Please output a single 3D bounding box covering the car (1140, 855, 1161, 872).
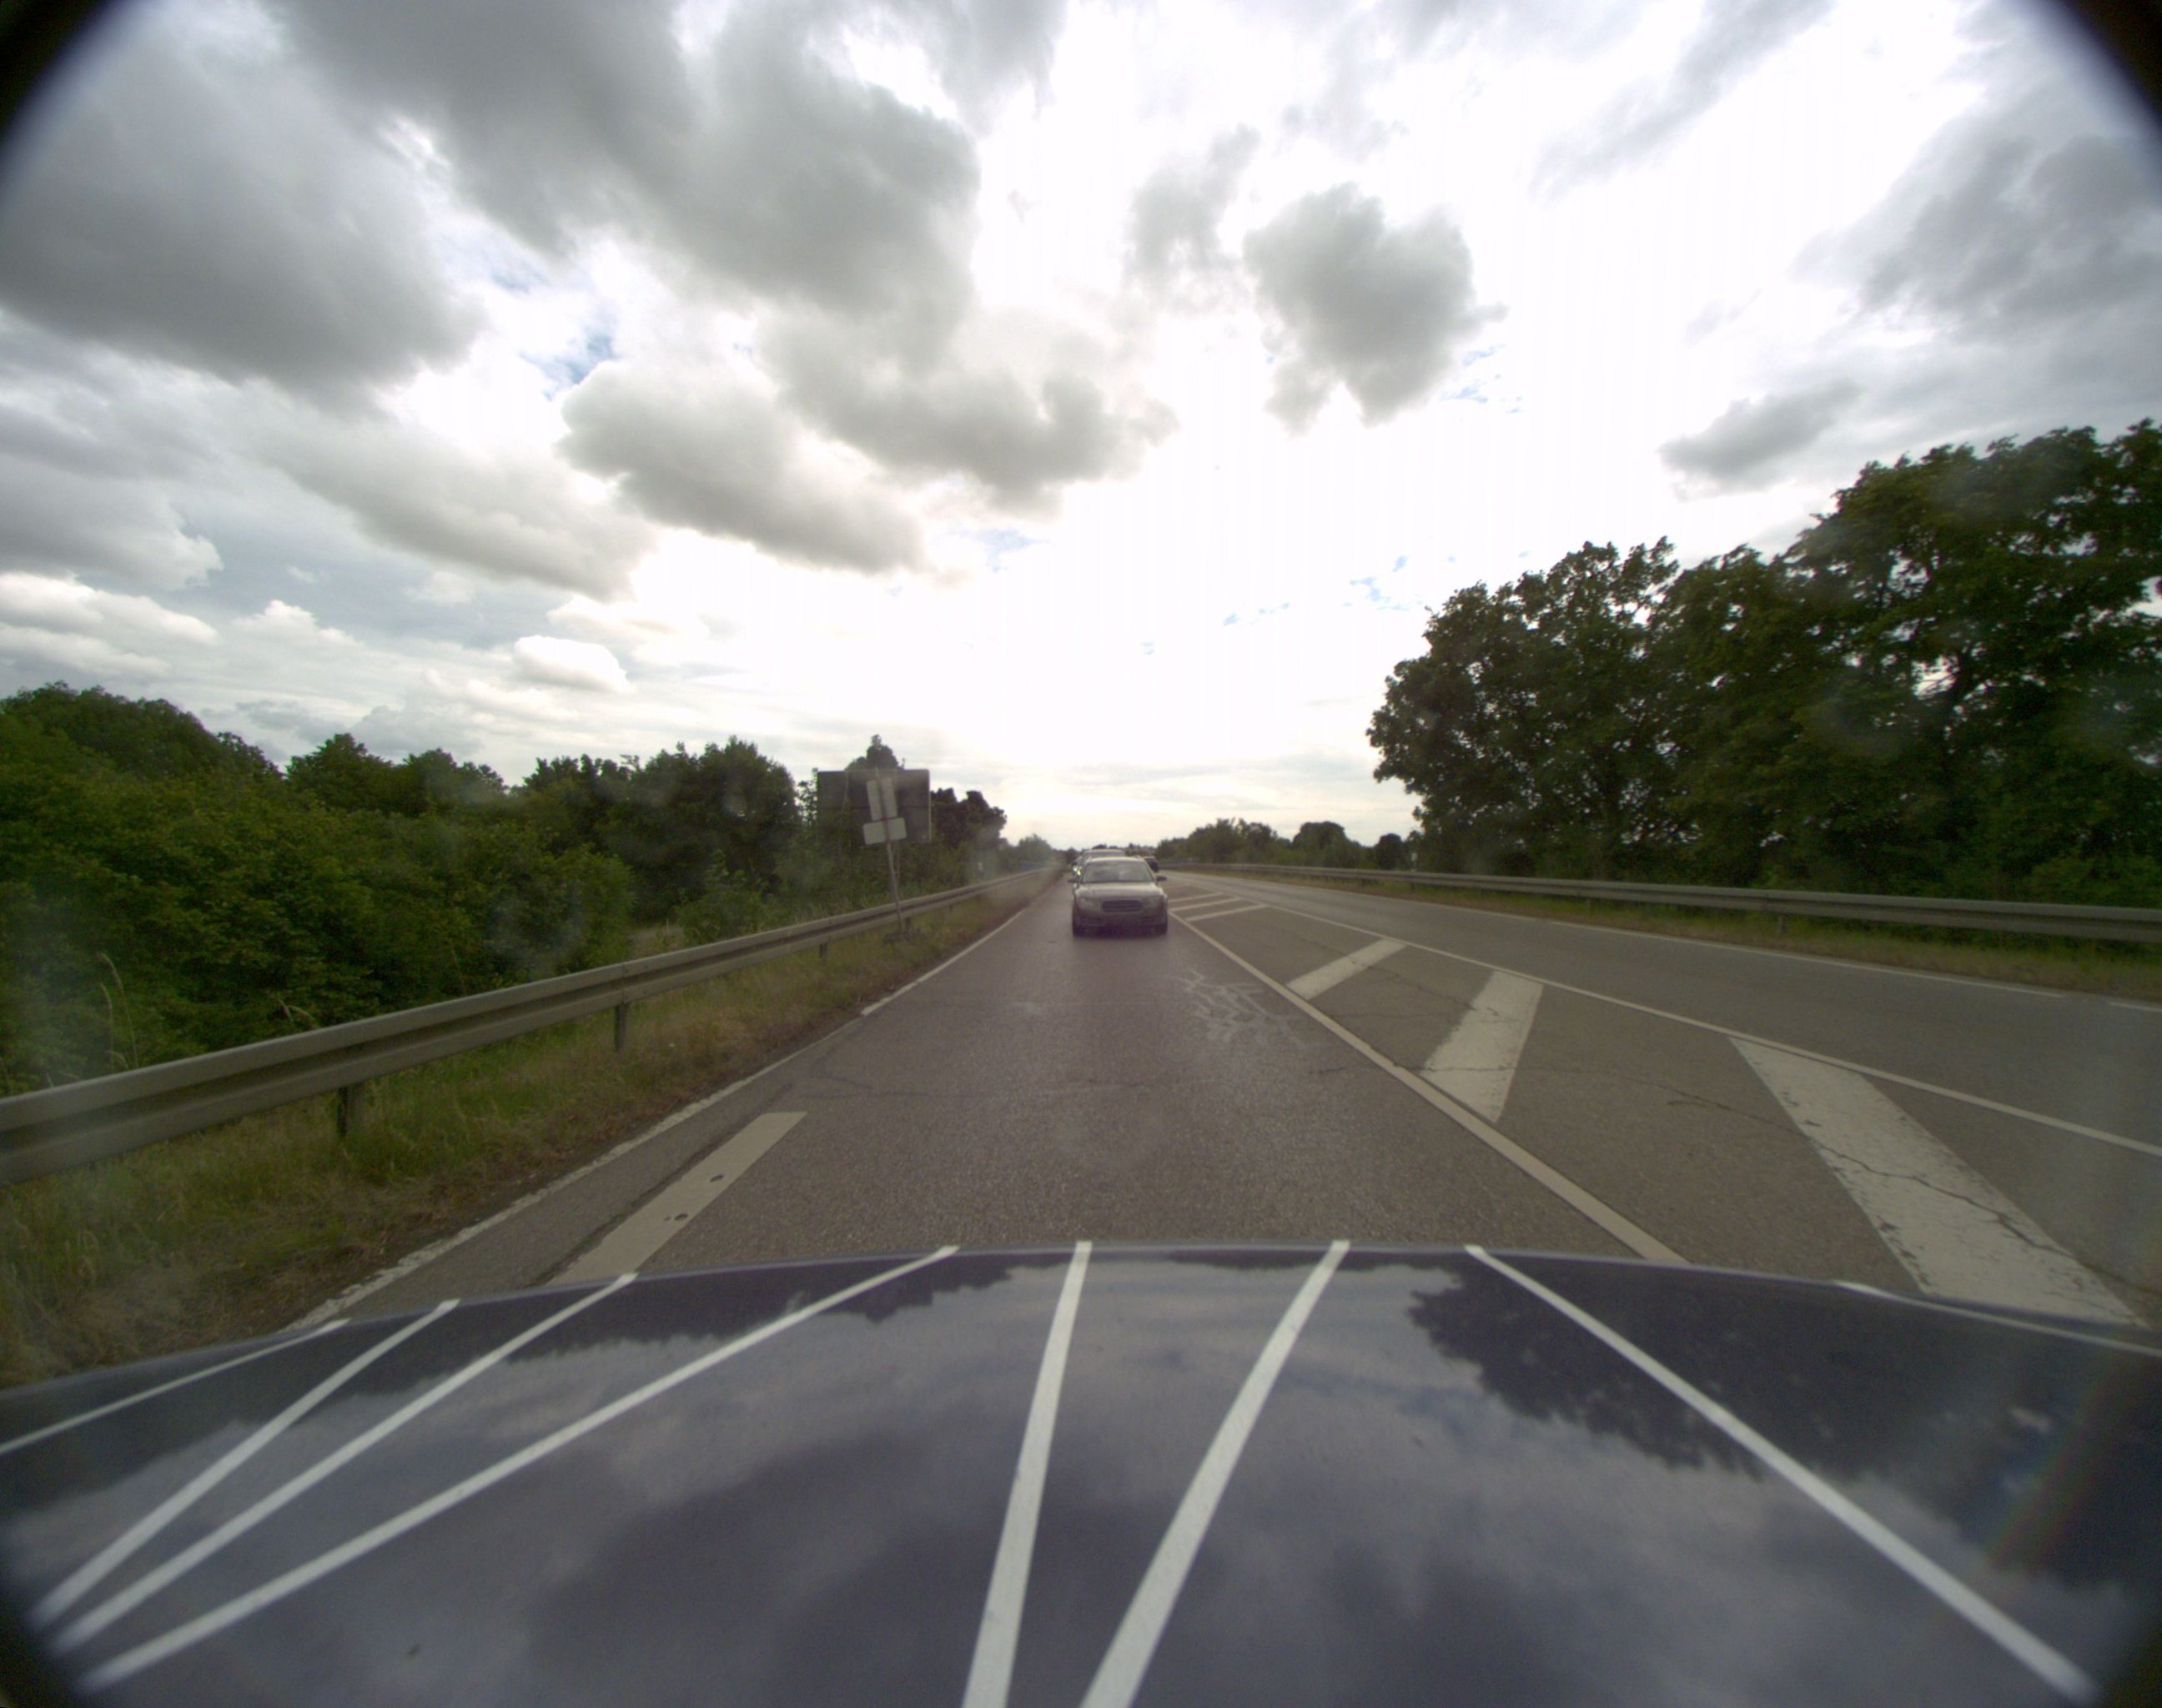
[{"bbox_3d":[7.089,0.943,77.540,1.834,1.538,4.034,-1,0,1],"label":"car"}]

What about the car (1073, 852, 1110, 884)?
[{"bbox_3d":[0.540,0.714,40.628,1.834,1.538,4.034,-1,0,1],"label":"car"}]

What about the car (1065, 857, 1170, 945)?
[{"bbox_3d":[0.658,0.817,15.085,1.784,1.442,4.034,-1,0,1],"label":"car"}]

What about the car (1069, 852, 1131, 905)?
[{"bbox_3d":[0.614,0.738,24.930,1.834,1.538,4.034,-1,0,1],"label":"car"}]

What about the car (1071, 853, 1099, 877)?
[{"bbox_3d":[0.300,0.732,52.229,1.834,1.538,4.034,-1,0,1],"label":"car"}]
